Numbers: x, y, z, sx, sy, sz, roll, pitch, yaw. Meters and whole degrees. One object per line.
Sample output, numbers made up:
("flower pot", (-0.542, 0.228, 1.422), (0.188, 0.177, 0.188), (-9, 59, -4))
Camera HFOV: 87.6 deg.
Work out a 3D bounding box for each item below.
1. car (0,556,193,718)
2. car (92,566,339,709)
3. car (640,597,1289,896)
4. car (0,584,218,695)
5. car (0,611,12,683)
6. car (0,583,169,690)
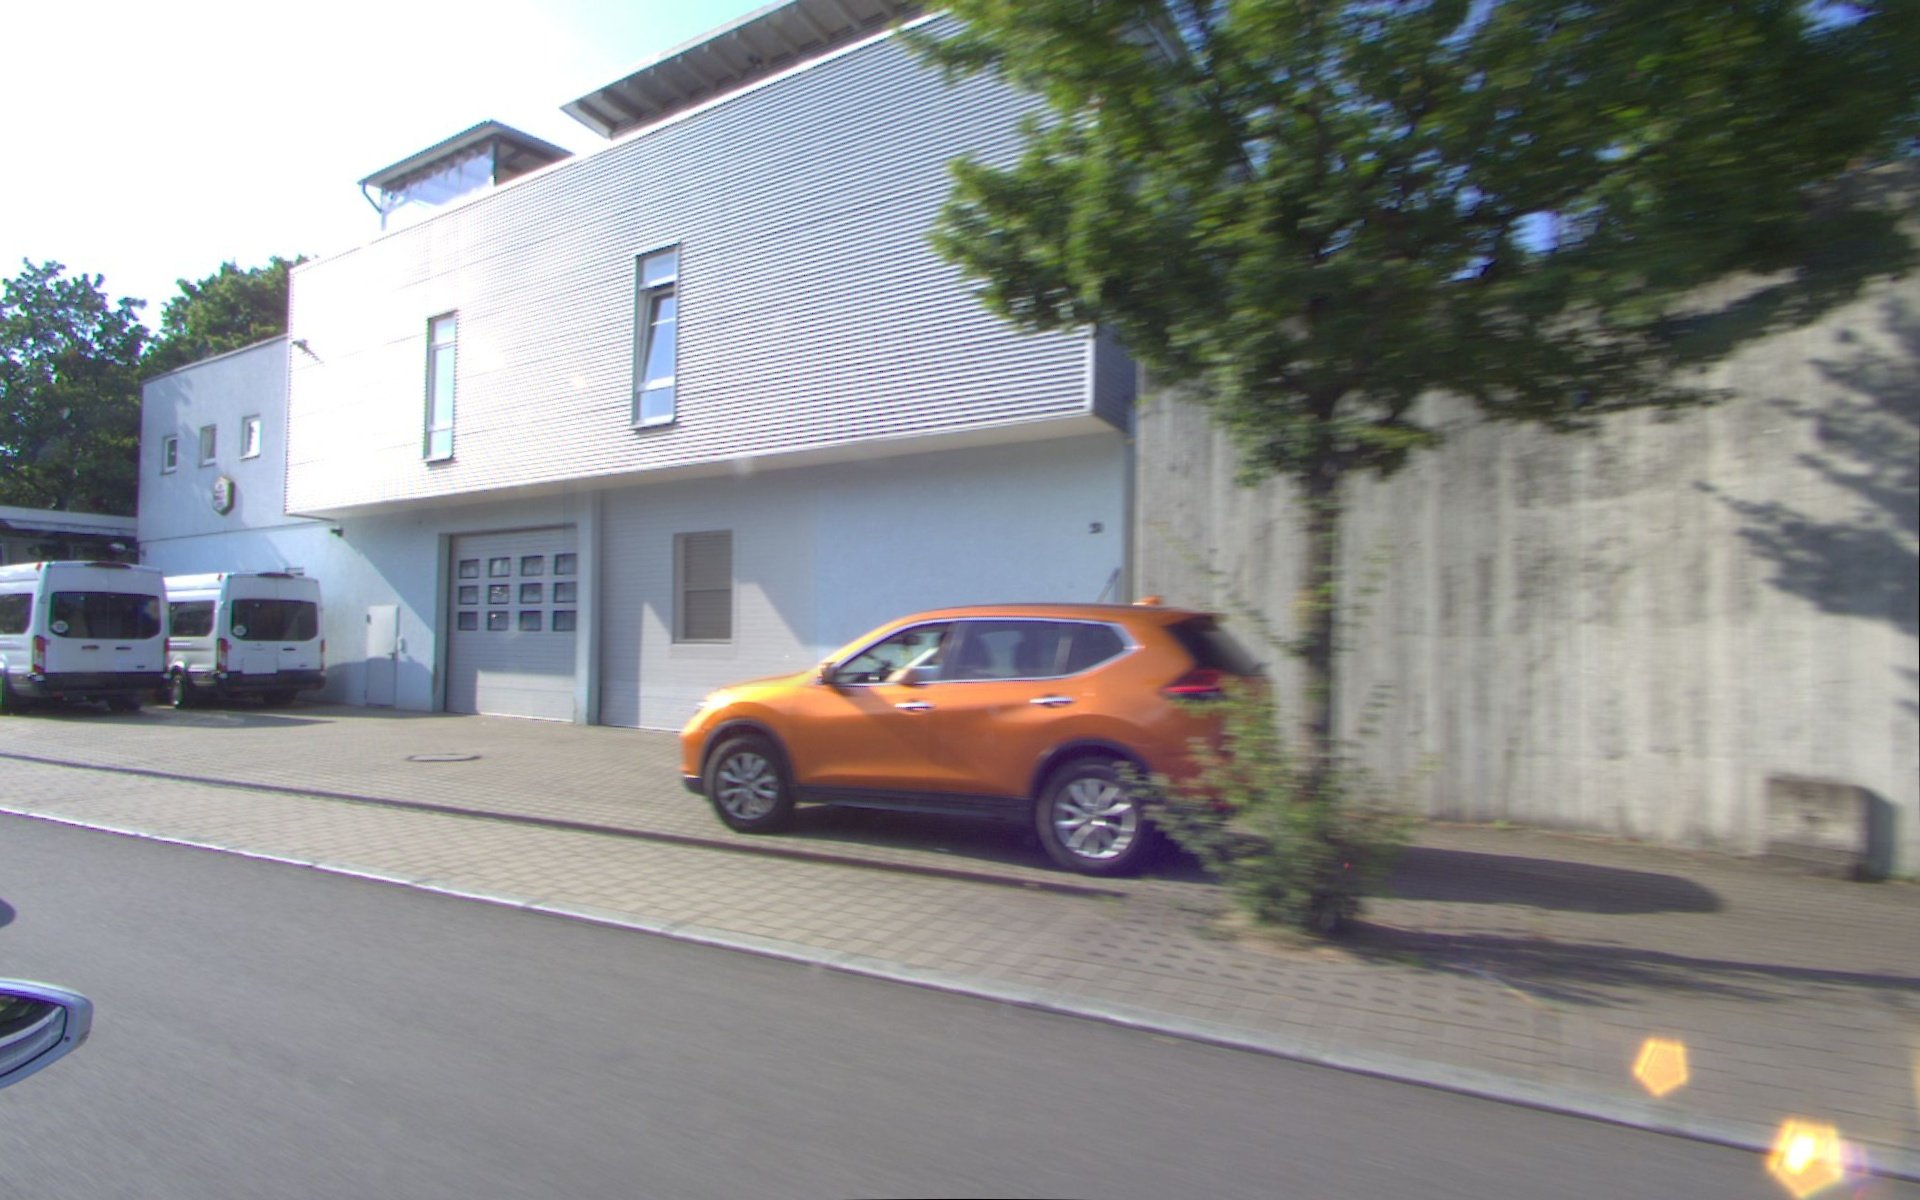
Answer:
("car", (-17.641, 0.677, 19.479), (6.507, 2.715, 2.146), (0, -2, 32))
("car", (-16.382, 0.771, 21.898), (6.349, 2.756, 2.108), (0, -2, 32))
("car", (-0.011, 0.876, 7.421), (4.465, 1.670, 1.835), (-1, -2, 26))
("car", (-21.119, 0.906, 23.169), (2.014, 2.393, 6.037), (0, -2, 31))
("car", (-26.844, 1.183, 25.503), (1.563, 1.918, 3.596), (0, -2, 30))
("car", (-23.626, 0.897, 24.751), (2.014, 2.548, 6.037), (0, -2, 31))
